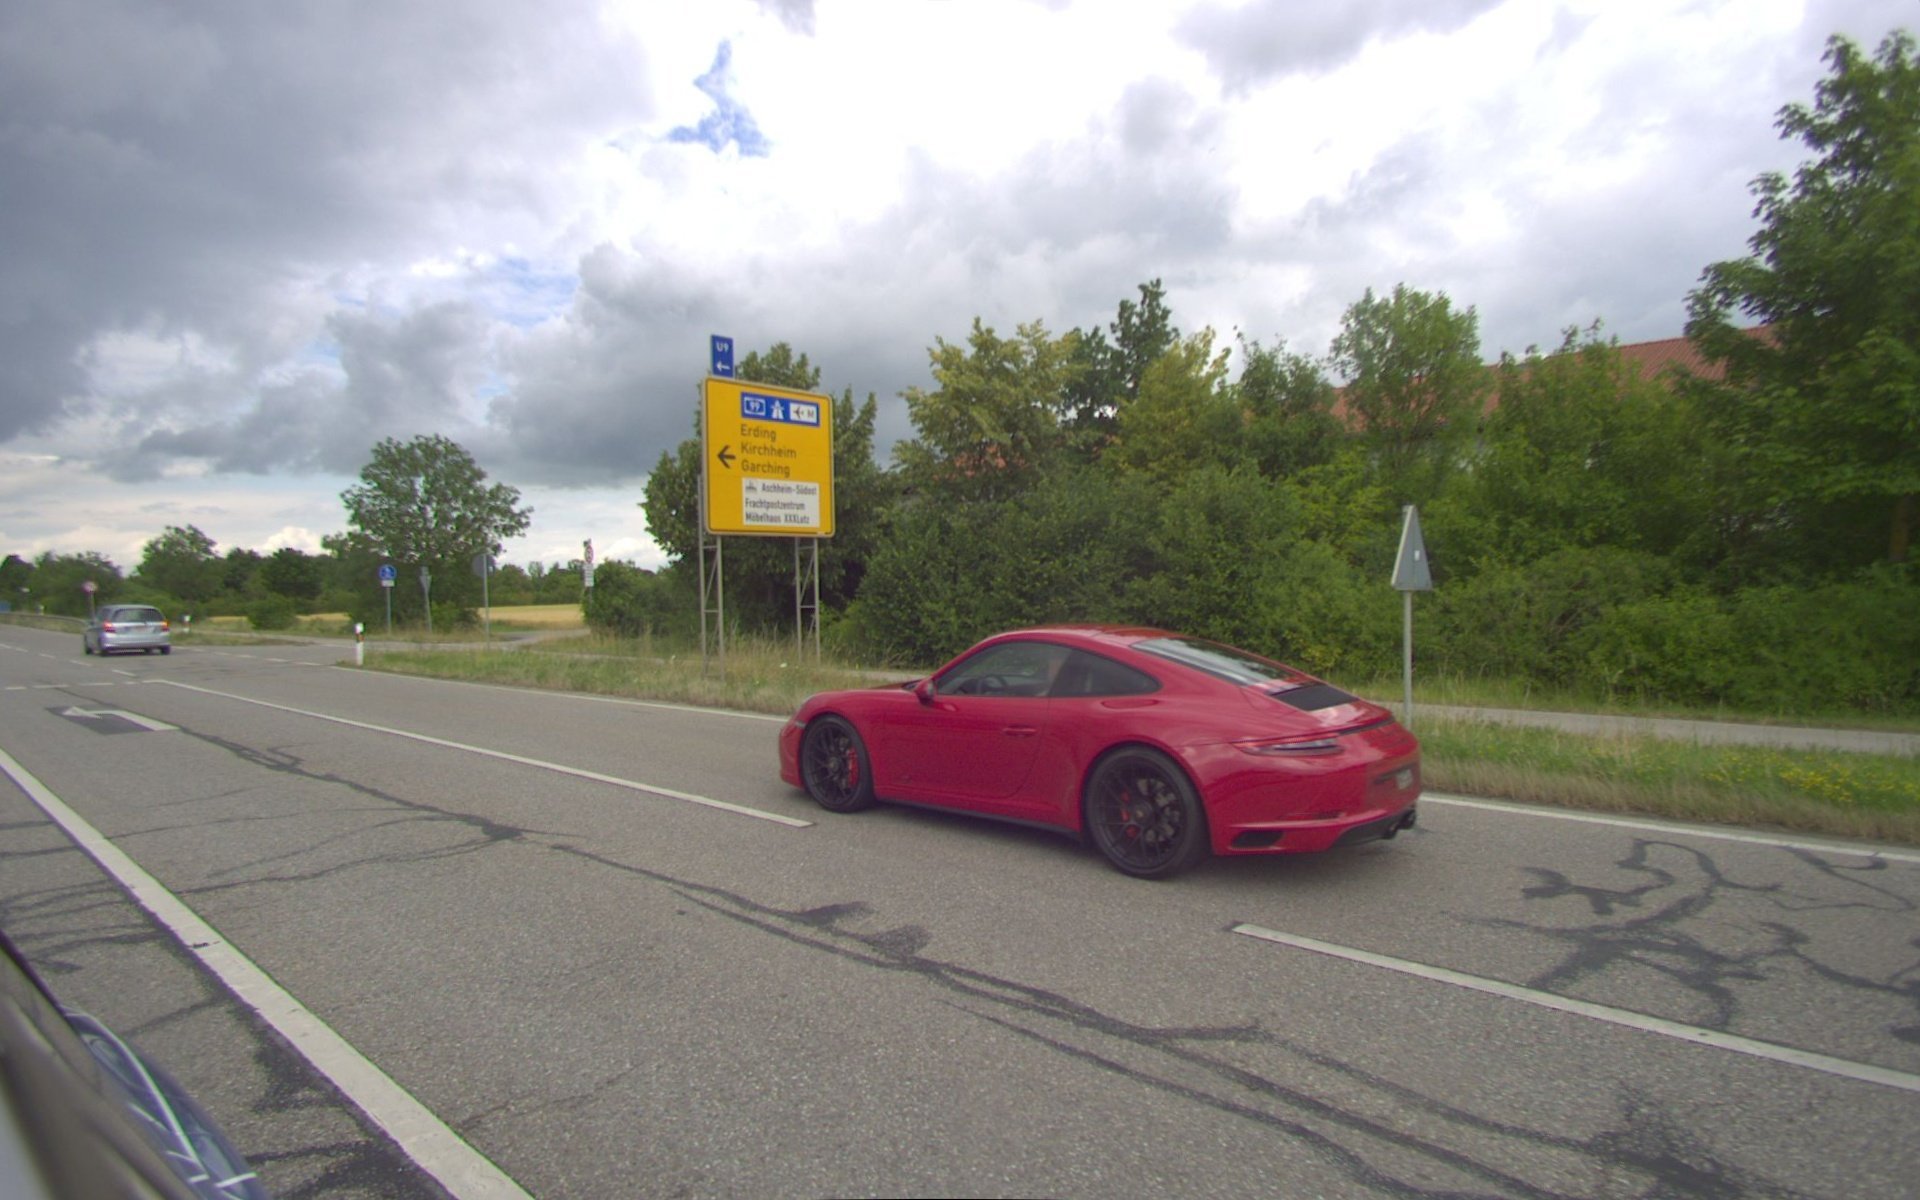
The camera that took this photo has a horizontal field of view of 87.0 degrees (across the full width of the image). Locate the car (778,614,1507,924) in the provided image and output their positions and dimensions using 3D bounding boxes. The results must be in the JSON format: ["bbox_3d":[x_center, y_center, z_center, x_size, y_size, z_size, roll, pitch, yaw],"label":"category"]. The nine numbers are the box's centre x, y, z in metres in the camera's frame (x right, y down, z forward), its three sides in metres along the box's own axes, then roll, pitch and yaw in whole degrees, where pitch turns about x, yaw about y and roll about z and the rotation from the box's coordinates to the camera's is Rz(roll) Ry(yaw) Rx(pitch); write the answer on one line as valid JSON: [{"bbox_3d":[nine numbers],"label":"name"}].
[{"bbox_3d":[0.868,0.742,6.341,4.210,1.250,1.752,-1,1,42],"label":"car"}]

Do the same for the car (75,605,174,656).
[{"bbox_3d":[-25.408,0.897,30.752,3.933,1.442,1.712,-1,0,41],"label":"car"}]
